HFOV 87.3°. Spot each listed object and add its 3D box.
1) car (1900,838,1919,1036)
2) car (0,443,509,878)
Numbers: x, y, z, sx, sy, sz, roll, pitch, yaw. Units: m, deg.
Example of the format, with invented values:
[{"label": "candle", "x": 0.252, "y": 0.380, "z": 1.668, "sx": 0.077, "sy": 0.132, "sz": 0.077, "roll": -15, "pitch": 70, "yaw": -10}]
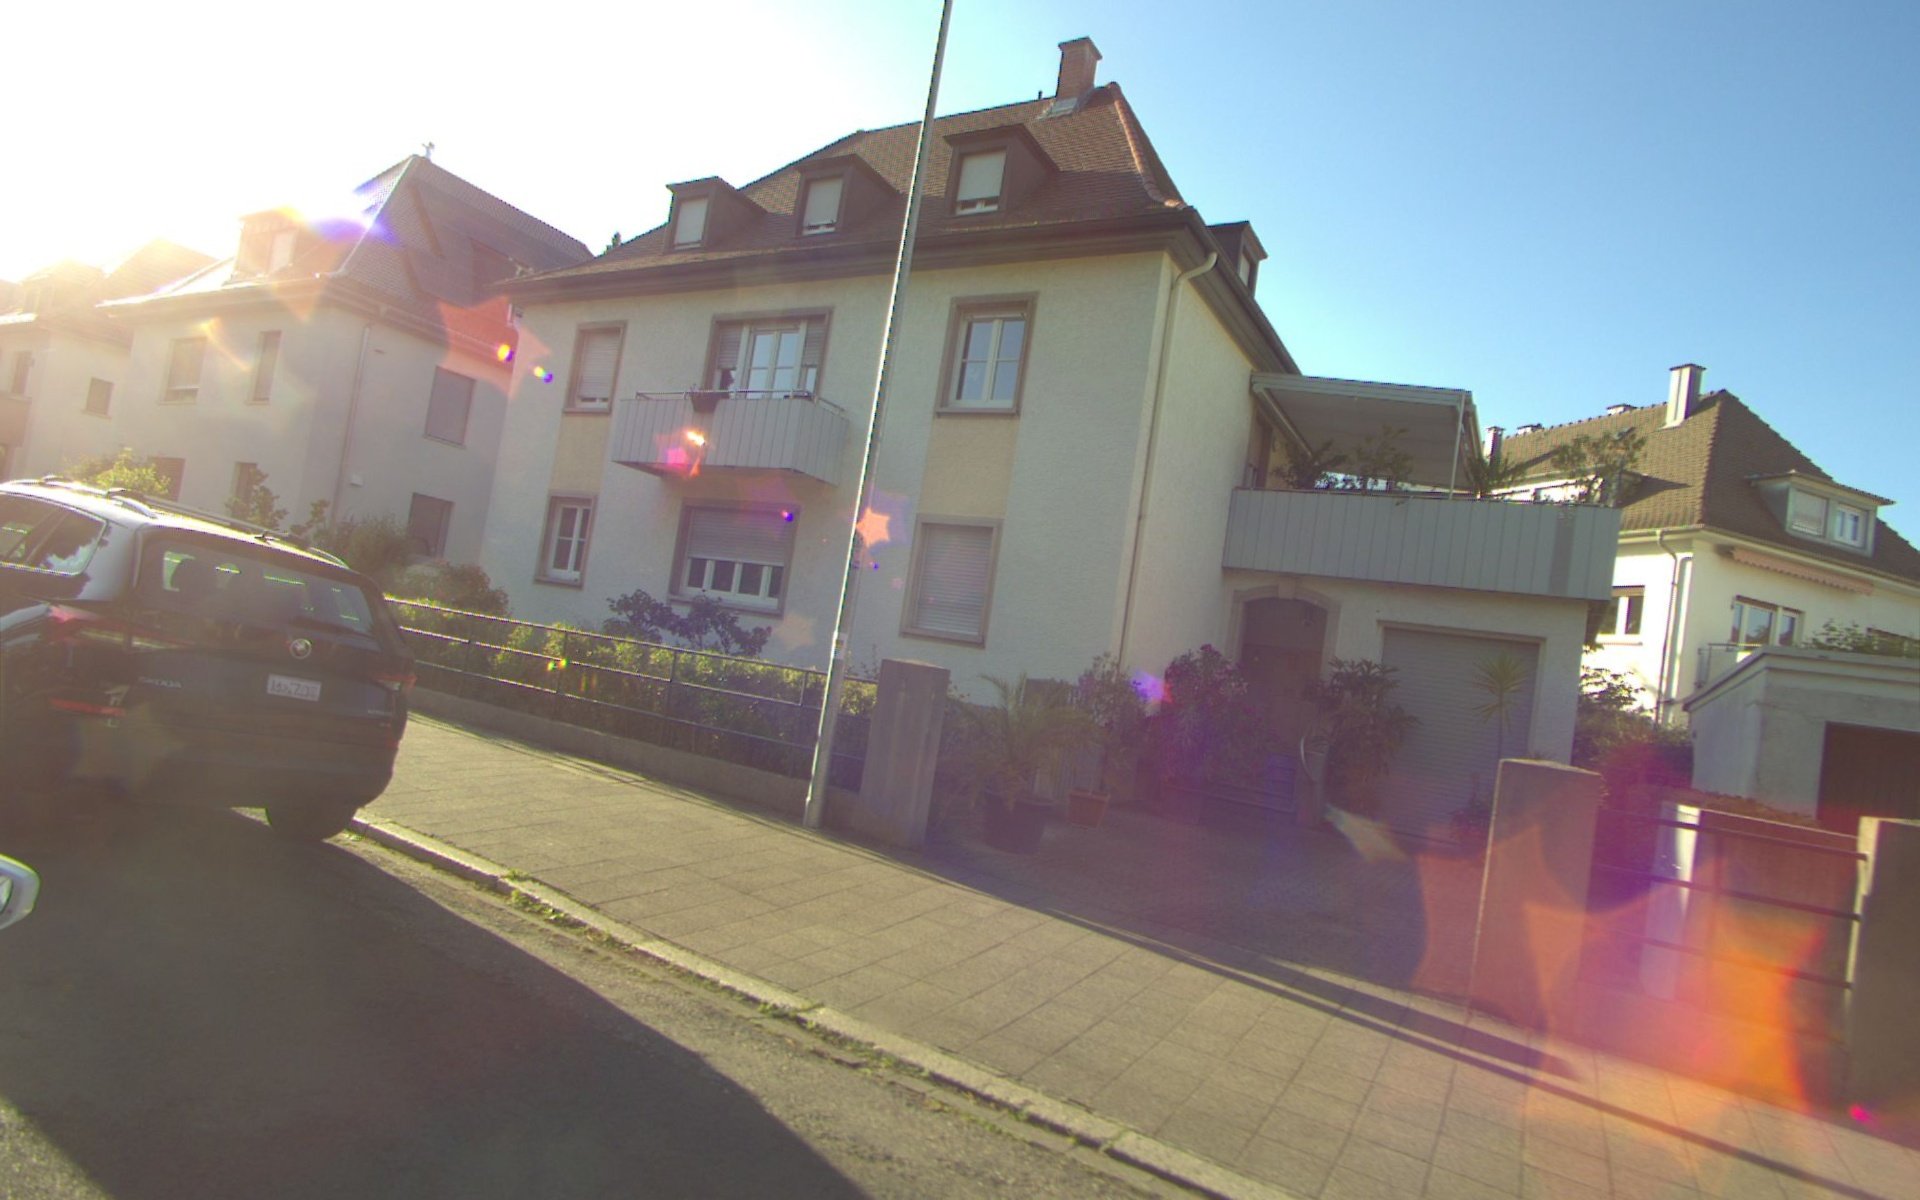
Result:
[{"label": "car", "x": 6.823, "y": 1.896, "z": 5.005, "sx": 1.965, "sy": 1.948, "sz": 4.003, "roll": 7, "pitch": -4, "yaw": 28}, {"label": "car", "x": -5.048, "y": 0.222, "z": 5.919, "sx": 4.392, "sy": 1.733, "sz": 1.869, "roll": 7, "pitch": -9, "yaw": 30}]
